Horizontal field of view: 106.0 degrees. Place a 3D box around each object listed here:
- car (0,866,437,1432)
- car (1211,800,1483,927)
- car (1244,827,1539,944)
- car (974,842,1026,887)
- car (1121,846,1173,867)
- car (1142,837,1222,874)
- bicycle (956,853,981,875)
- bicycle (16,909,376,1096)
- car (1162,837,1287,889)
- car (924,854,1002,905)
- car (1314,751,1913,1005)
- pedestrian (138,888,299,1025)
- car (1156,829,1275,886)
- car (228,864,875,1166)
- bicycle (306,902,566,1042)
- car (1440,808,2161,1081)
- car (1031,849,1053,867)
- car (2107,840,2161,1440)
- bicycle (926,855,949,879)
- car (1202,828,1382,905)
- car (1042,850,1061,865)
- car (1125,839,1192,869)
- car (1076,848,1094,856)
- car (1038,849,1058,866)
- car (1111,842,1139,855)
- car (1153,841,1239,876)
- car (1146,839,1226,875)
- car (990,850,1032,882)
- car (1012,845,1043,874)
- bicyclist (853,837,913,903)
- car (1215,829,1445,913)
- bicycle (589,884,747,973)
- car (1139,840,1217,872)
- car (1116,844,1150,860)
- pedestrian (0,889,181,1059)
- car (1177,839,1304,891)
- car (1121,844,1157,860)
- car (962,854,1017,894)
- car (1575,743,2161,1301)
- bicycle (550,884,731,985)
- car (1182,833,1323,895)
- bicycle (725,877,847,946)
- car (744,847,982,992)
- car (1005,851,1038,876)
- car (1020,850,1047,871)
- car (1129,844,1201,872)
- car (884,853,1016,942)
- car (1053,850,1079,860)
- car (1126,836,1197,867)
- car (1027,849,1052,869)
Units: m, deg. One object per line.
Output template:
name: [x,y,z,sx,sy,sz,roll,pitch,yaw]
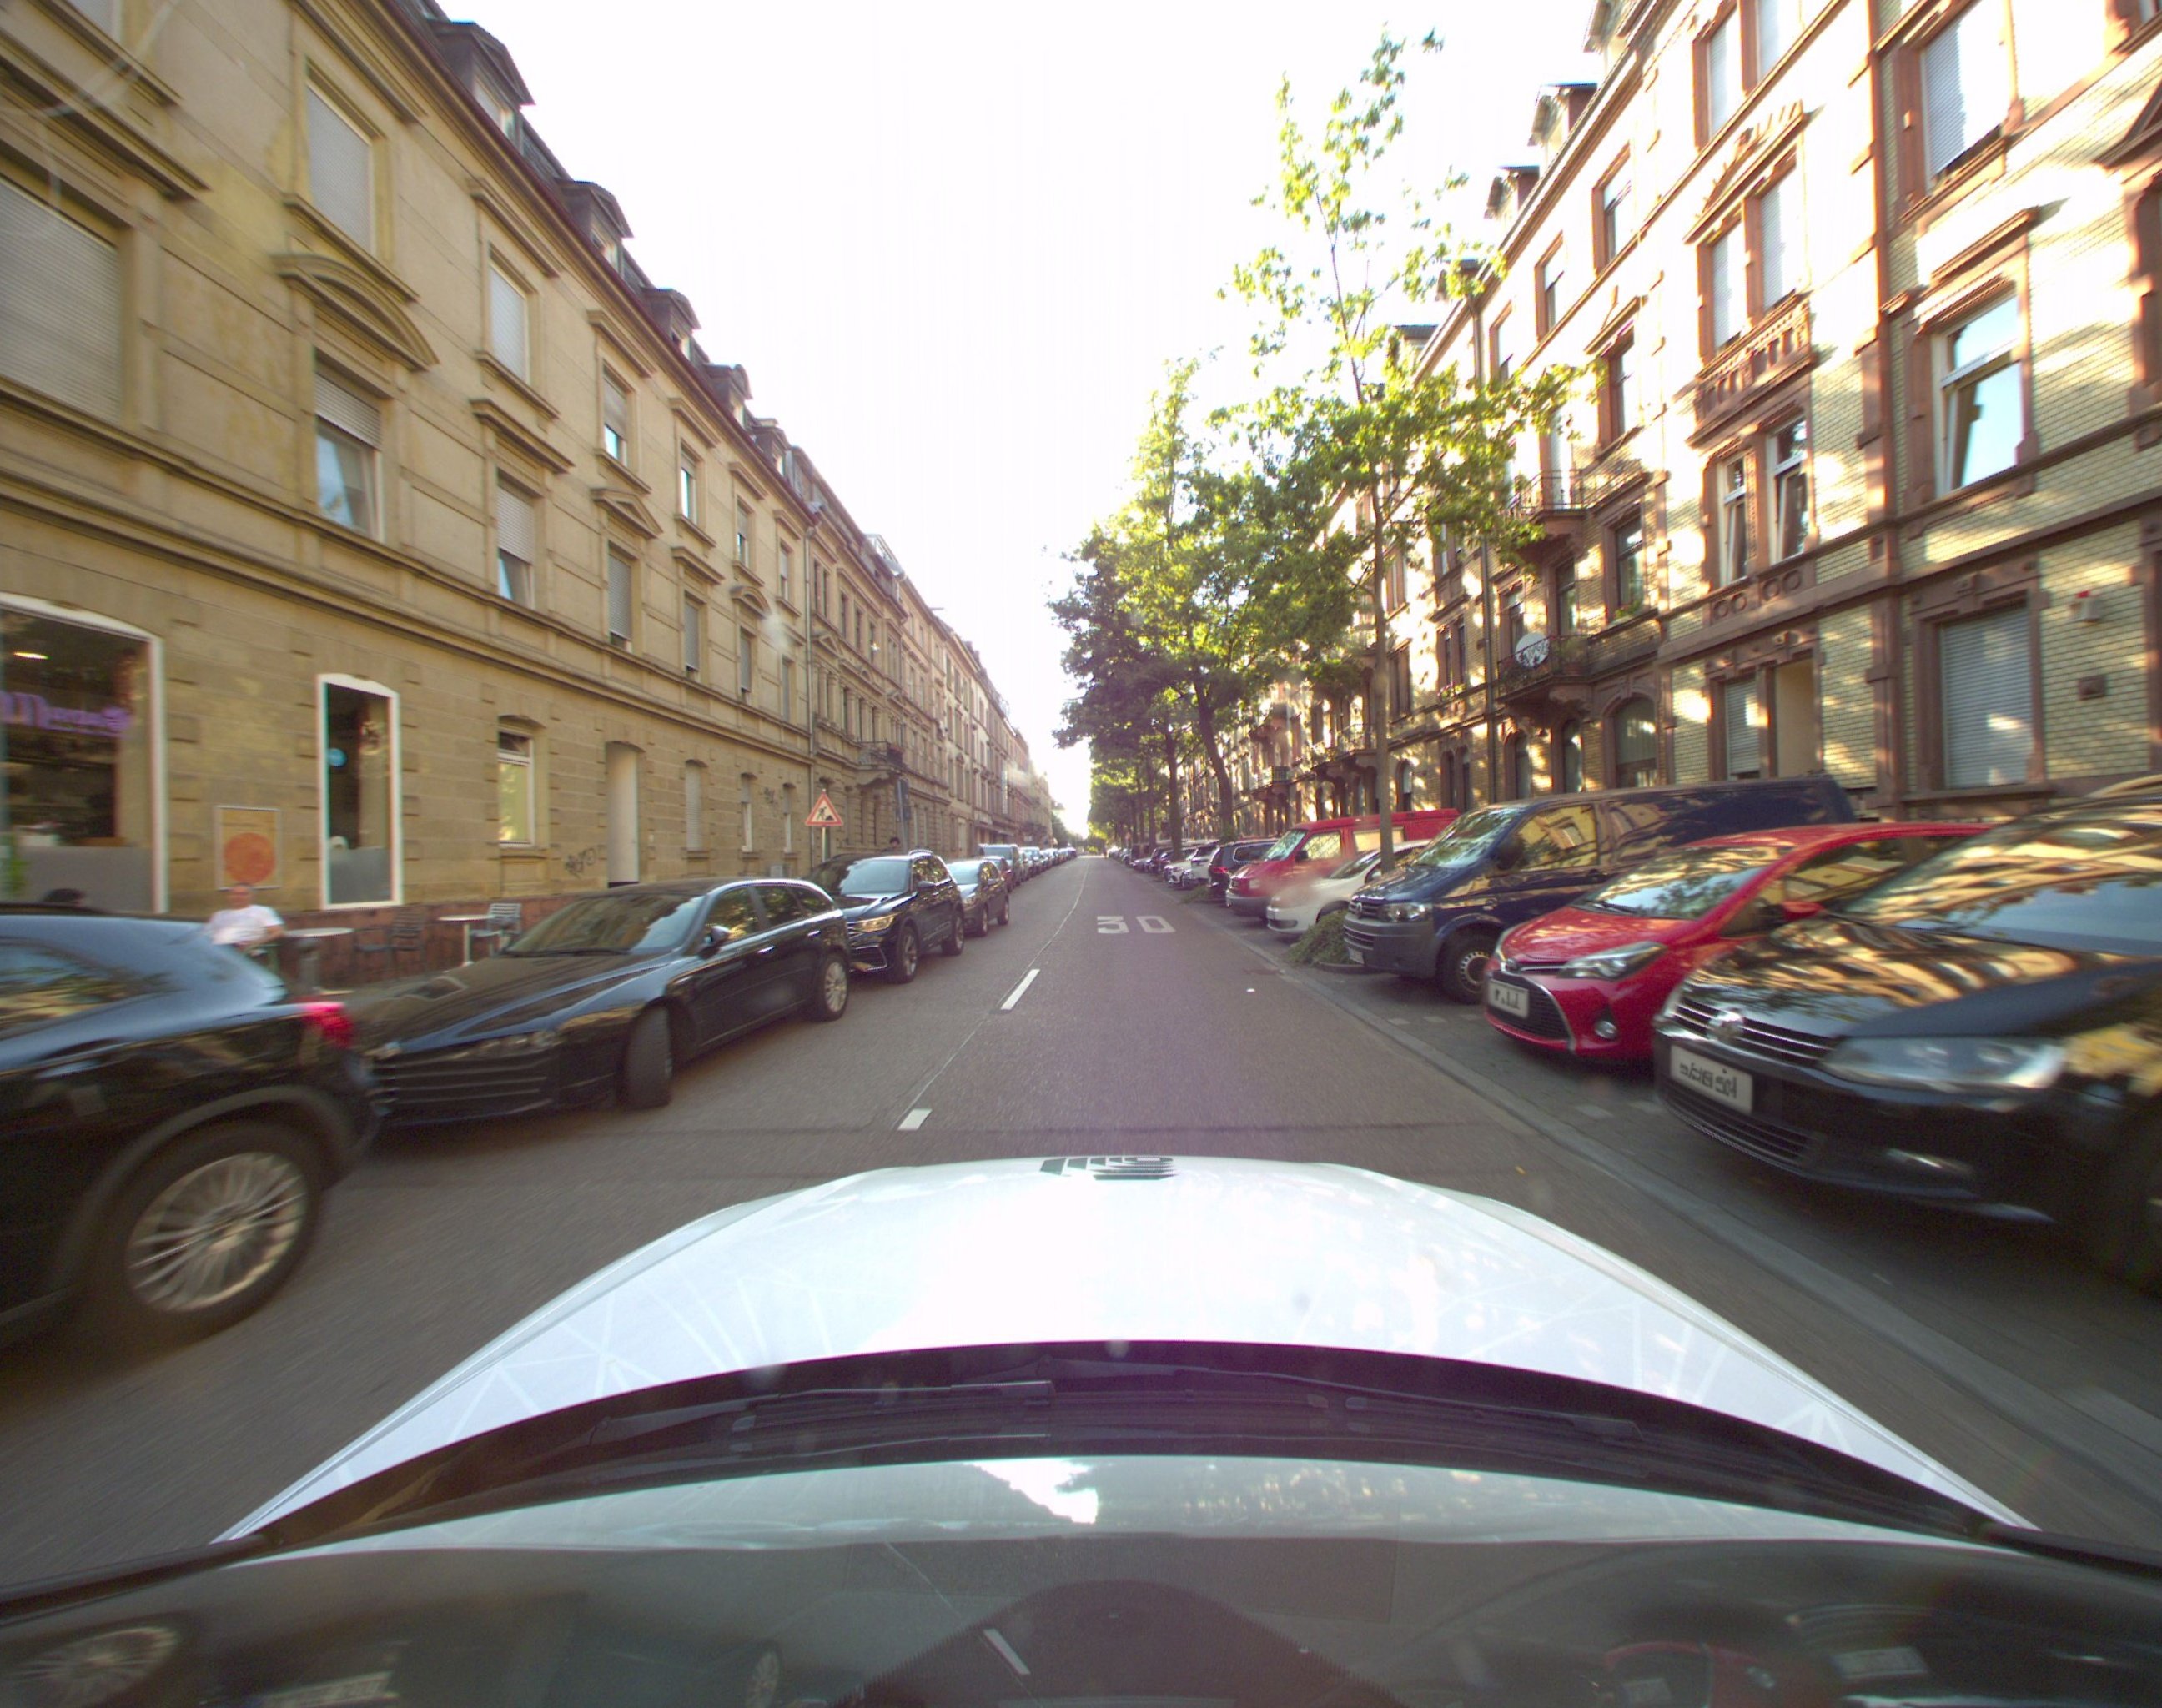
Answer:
car: [-3.869,0.840,1.489,1.749,1.487,4.146,-3,0,6]
car: [5.113,0.169,16.071,4.664,2.033,1.877,-4,0,-3]
car: [4.909,0.483,13.317,4.041,1.510,1.879,-4,0,0]
car: [-3.678,0.418,37.988,1.826,1.943,5.261,0,0,1]
car: [5.124,0.182,63.465,3.841,1.293,1.716,-4,0,-3]
car: [5.663,0.065,46.147,4.208,1.776,1.834,-4,0,-1]
bicycle: [-7.265,0.626,52.993,1.038,1.318,4.000,-1,0,0]
bicycle: [-5.789,0.949,5.372,1.859,1.128,0.529,-1,-1,3]
car: [5.365,0.317,30.779,4.330,1.556,1.850,-5,1,0]
car: [-3.921,0.803,27.693,1.751,1.501,4.063,-3,0,3]
car: [5.277,0.224,8.615,5.006,2.215,1.992,-2,0,-1]
pedestrian: [-8.323,0.959,7.896,0.723,1.214,0.756,-2,0,-2]
car: [5.451,0.120,33.342,4.433,1.924,1.849,-5,1,-2]
car: [-3.350,0.874,6.480,1.749,1.451,4.558,-3,0,6]
bicycle: [-5.513,0.996,7.006,1.859,1.128,0.529,-1,-1,3]
car: [4.977,0.544,5.765,4.091,1.534,1.725,-2,0,1]
car: [-3.364,0.330,71.181,1.753,1.473,4.058,-2,0,-1]
car: [4.829,0.532,0.916,4.765,1.413,1.853,-4,0,3]
bicycle: [-7.718,0.684,43.971,0.738,1.255,2.827,-1,0,0]
car: [5.354,0.312,21.101,4.168,1.627,1.839,-4,0,3]
car: [-2.910,0.338,82.203,1.753,1.473,4.058,-2,0,-1]
car: [5.402,-0.013,56.844,4.234,1.794,1.823,-4,0,-19]
car: [1.034,-0.382,194.042,3.964,1.859,1.755,-1,0,8]
car: [-3.120,0.308,77.433,1.753,1.473,4.058,-2,0,-1]
car: [6.319,-0.779,117.884,3.838,1.573,1.718,-4,0,-1]
car: [5.739,0.237,40.913,3.997,1.467,1.734,-4,0,0]
car: [5.537,0.170,43.299,3.997,1.607,1.734,-4,0,0]
car: [-3.702,0.590,43.762,1.747,1.608,4.385,0,0,1]
car: [-3.571,0.346,55.156,1.753,1.841,4.528,-2,0,-1]
bicyclist: [-5.638,0.459,23.218,0.986,1.789,1.215,-2,1,30]
car: [5.554,0.370,18.645,4.656,1.514,1.880,-4,0,2]
bicycle: [-5.508,0.984,10.912,1.859,1.128,0.529,-1,-1,3]
car: [5.785,0.106,48.852,4.217,1.610,1.831,-4,0,-7]
car: [6.354,-0.246,100.140,3.847,1.573,1.713,-4,0,-8]
pedestrian: [-8.150,0.944,6.646,0.723,1.259,0.756,-2,0,-1]
car: [5.487,0.367,28.406,3.998,1.434,1.794,-5,0,0]
car: [6.750,-0.243,95.494,3.847,1.573,1.713,-4,0,-8]
car: [-3.571,0.757,32.313,1.586,1.475,3.702,0,0,3]
car: [4.926,0.408,3.238,4.664,1.679,1.854,-4,-1,6]
bicycle: [-5.167,0.938,9.605,1.859,1.128,0.529,-1,-1,3]
car: [5.389,0.314,25.954,3.999,1.627,1.804,-4,0,-1]
bicycle: [-4.985,0.967,13.814,1.861,1.128,0.528,-1,-1,0]
car: [-2.802,0.745,11.673,1.750,1.600,4.557,-3,0,5]
car: [-3.636,0.563,50.320,1.753,1.467,3.999,0,0,-1]
car: [-3.458,0.452,60.210,1.753,1.473,4.058,-2,0,-1]
car: [5.270,0.228,51.229,4.213,1.403,1.832,-4,0,-4]
car: [-2.552,0.798,16.874,1.751,1.501,4.064,-3,0,4]
car: [-2.264,0.197,125.440,1.974,1.486,4.025,-3,-2,33]
car: [5.933,-0.162,60.602,5.040,1.925,1.835,-4,0,0]
car: [-3.340,0.401,66.312,1.753,1.473,4.058,-2,0,-1]
